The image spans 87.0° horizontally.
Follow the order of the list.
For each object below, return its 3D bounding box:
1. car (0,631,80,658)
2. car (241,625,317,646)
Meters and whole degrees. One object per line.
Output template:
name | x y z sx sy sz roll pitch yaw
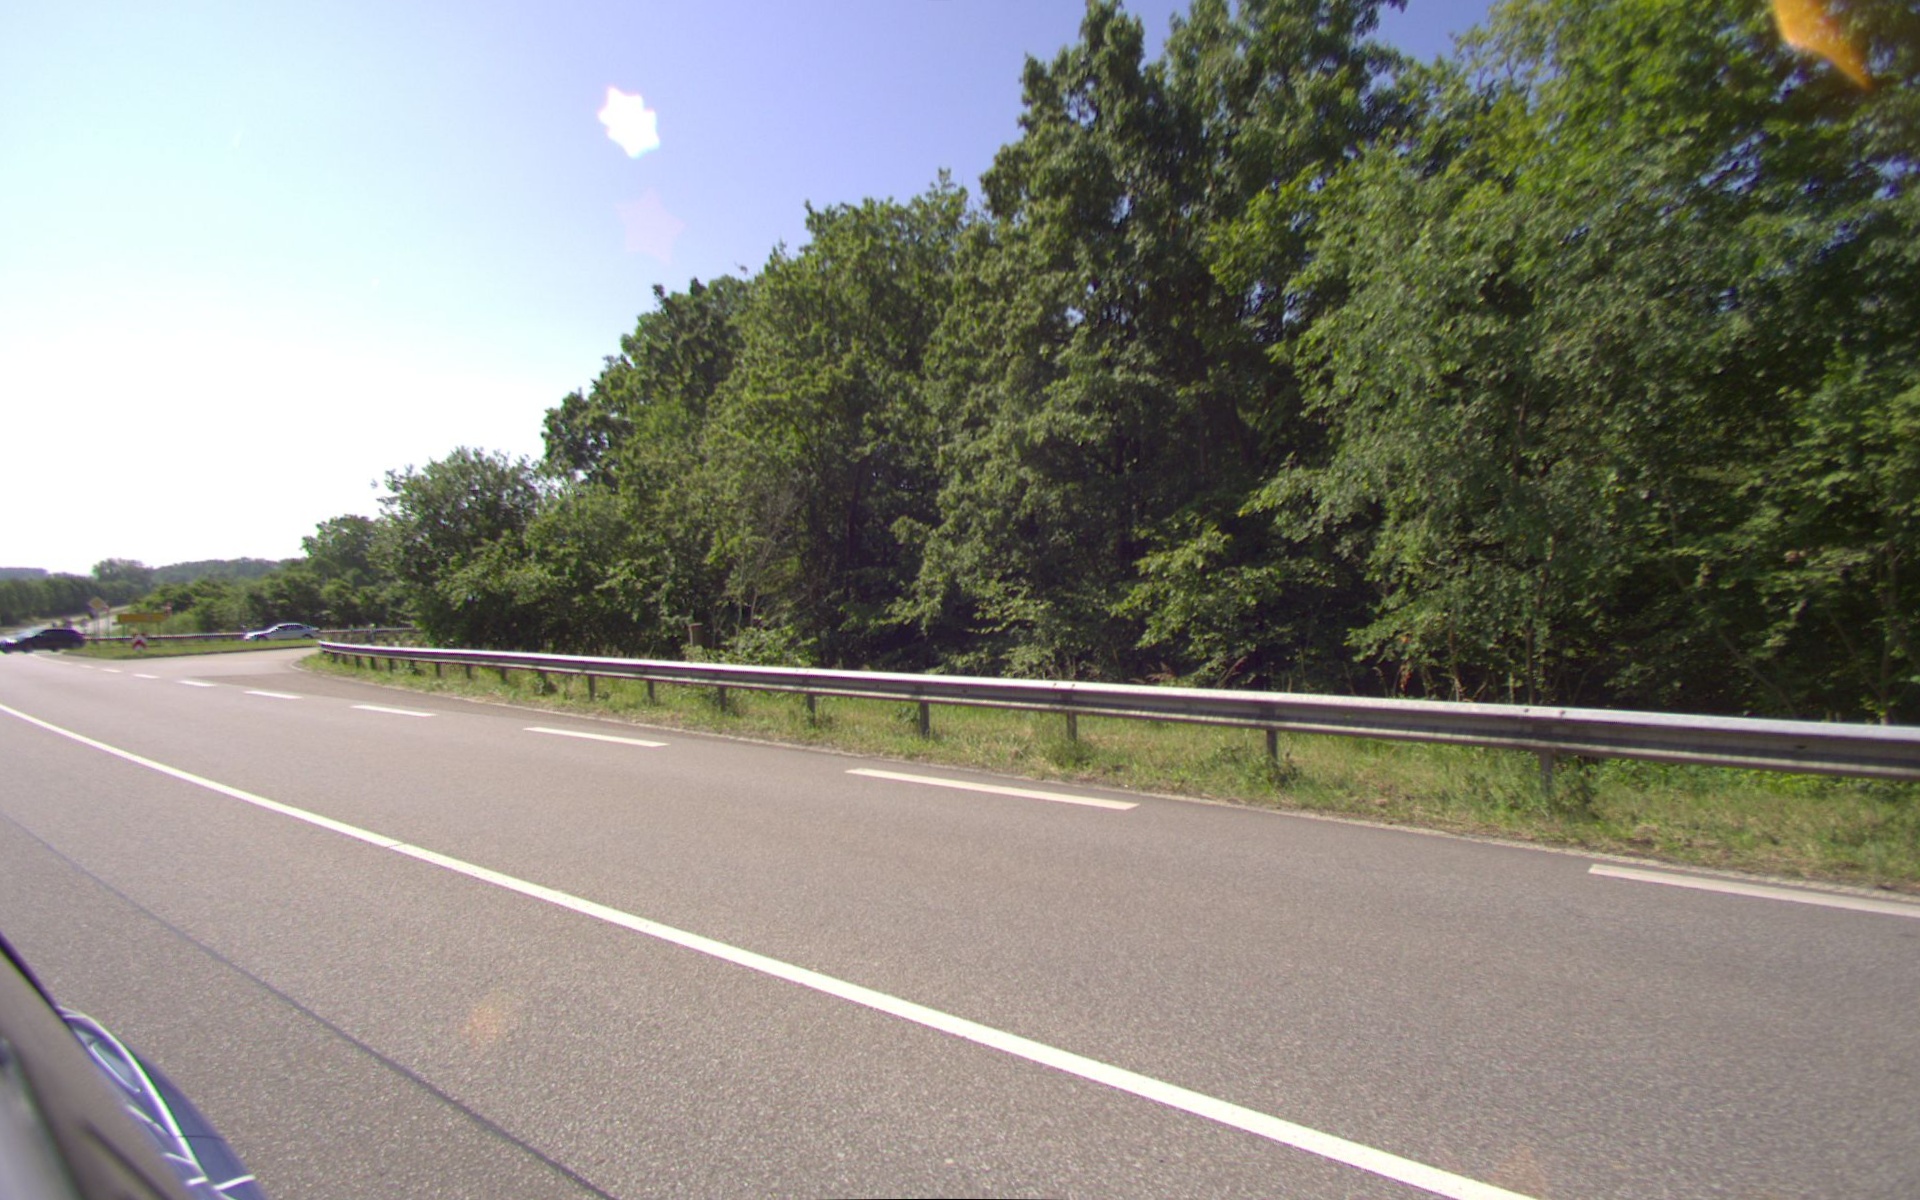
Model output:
car | -55.103 2.638 60.169 1.770 1.425 3.985 -2 -1 11
car | -48.362 2.503 71.897 4.308 1.396 1.792 -1 -1 -39
